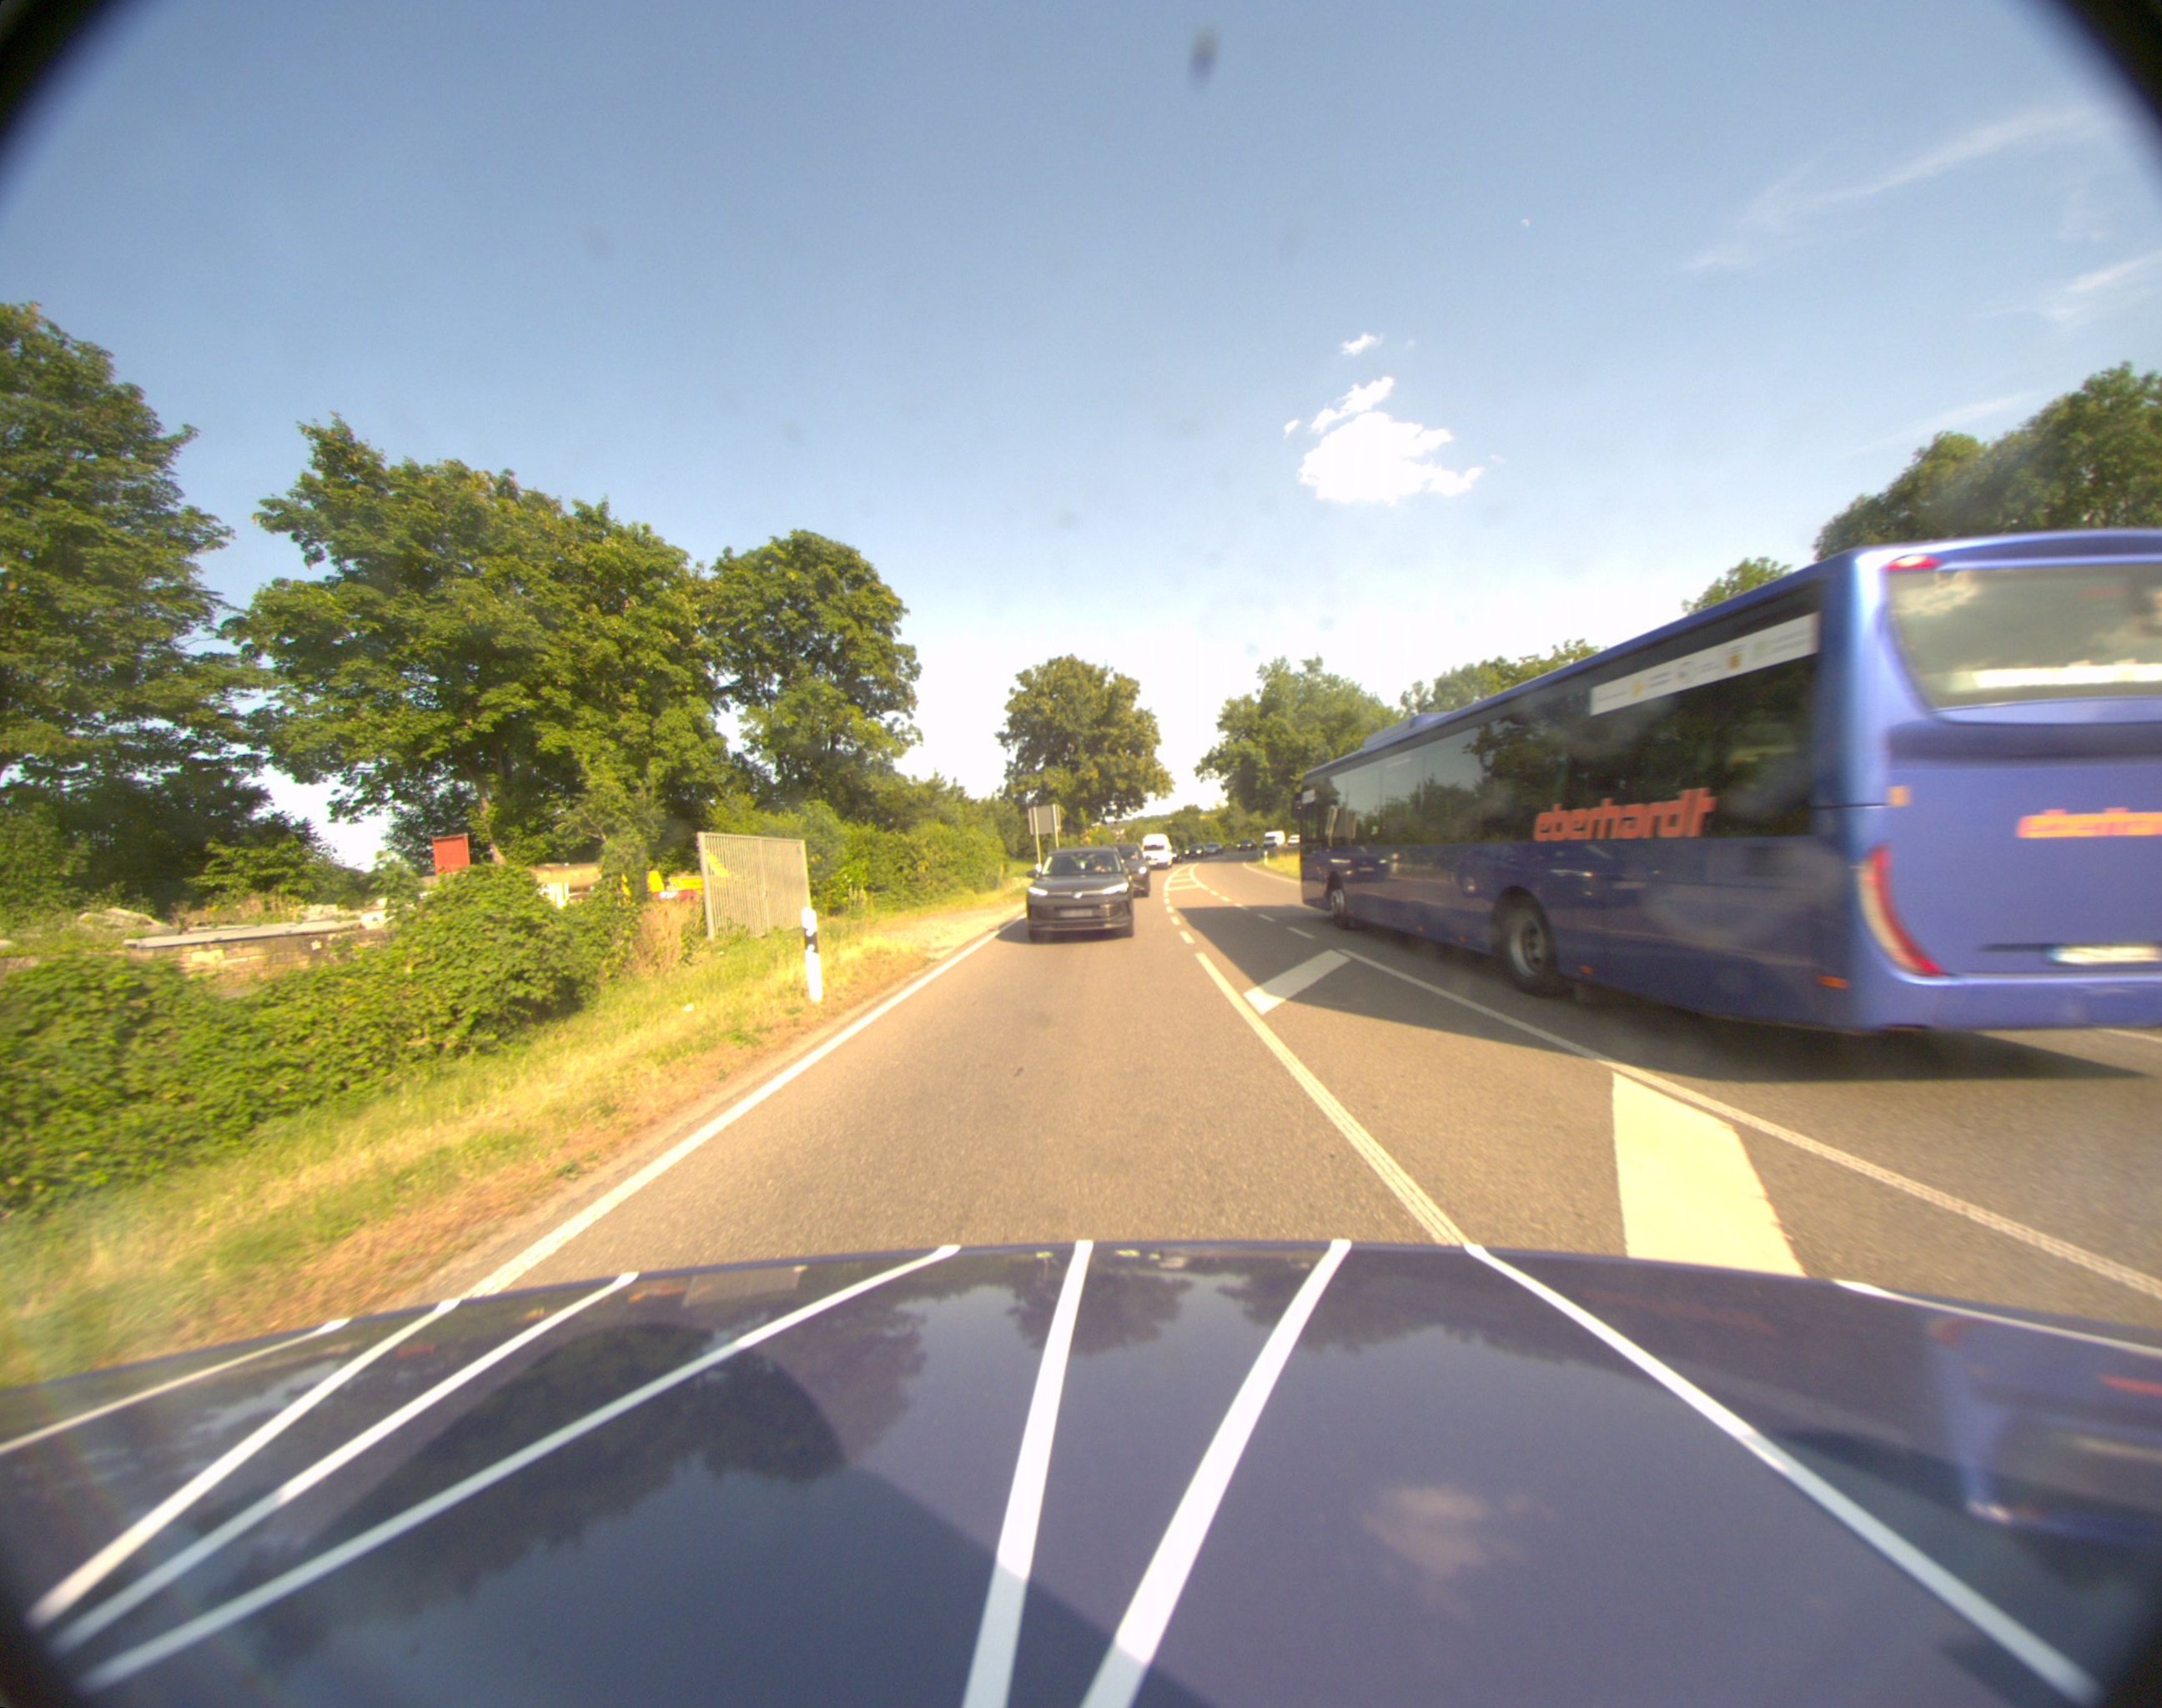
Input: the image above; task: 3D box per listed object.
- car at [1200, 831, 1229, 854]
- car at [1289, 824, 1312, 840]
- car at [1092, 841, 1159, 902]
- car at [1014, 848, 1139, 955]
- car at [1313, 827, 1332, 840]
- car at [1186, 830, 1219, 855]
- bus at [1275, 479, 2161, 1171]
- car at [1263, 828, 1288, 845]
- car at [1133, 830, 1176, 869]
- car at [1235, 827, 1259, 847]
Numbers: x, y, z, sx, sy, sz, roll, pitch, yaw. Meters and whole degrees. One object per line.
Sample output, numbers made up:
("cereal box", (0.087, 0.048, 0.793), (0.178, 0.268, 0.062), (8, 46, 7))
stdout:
("car", (15.816, -1.388, 89.784), (2.085, 2.403, 5.149), (-2, 2, 24))
("car", (37.628, -3.748, 130.014), (2.084, 2.403, 5.151), (-2, 2, 35))
("car", (1.443, 0.500, 25.182), (1.922, 1.719, 4.702), (-3, 1, 3))
("car", (0.041, 0.745, 14.510), (1.922, 1.612, 4.702), (-3, 1, 3))
("car", (49.049, -4.253, 153.995), (2.084, 2.403, 5.151), (-2, 2, 35))
("car", (12.753, -1.237, 79.458), (2.085, 2.403, 5.149), (-2, 2, 24))
("bus", (5.290, -0.292, 9.593), (2.801, 3.163, 12.124), (-3, 1, 2))
("car", (30.809, -2.825, 120.215), (2.084, 2.403, 5.151), (-2, 2, 35))
("car", (5.024, -0.363, 51.369), (2.086, 2.403, 5.146), (-3, 1, 14))
("car", (22.820, -2.364, 104.432), (2.085, 2.403, 5.149), (-2, 2, 24))
